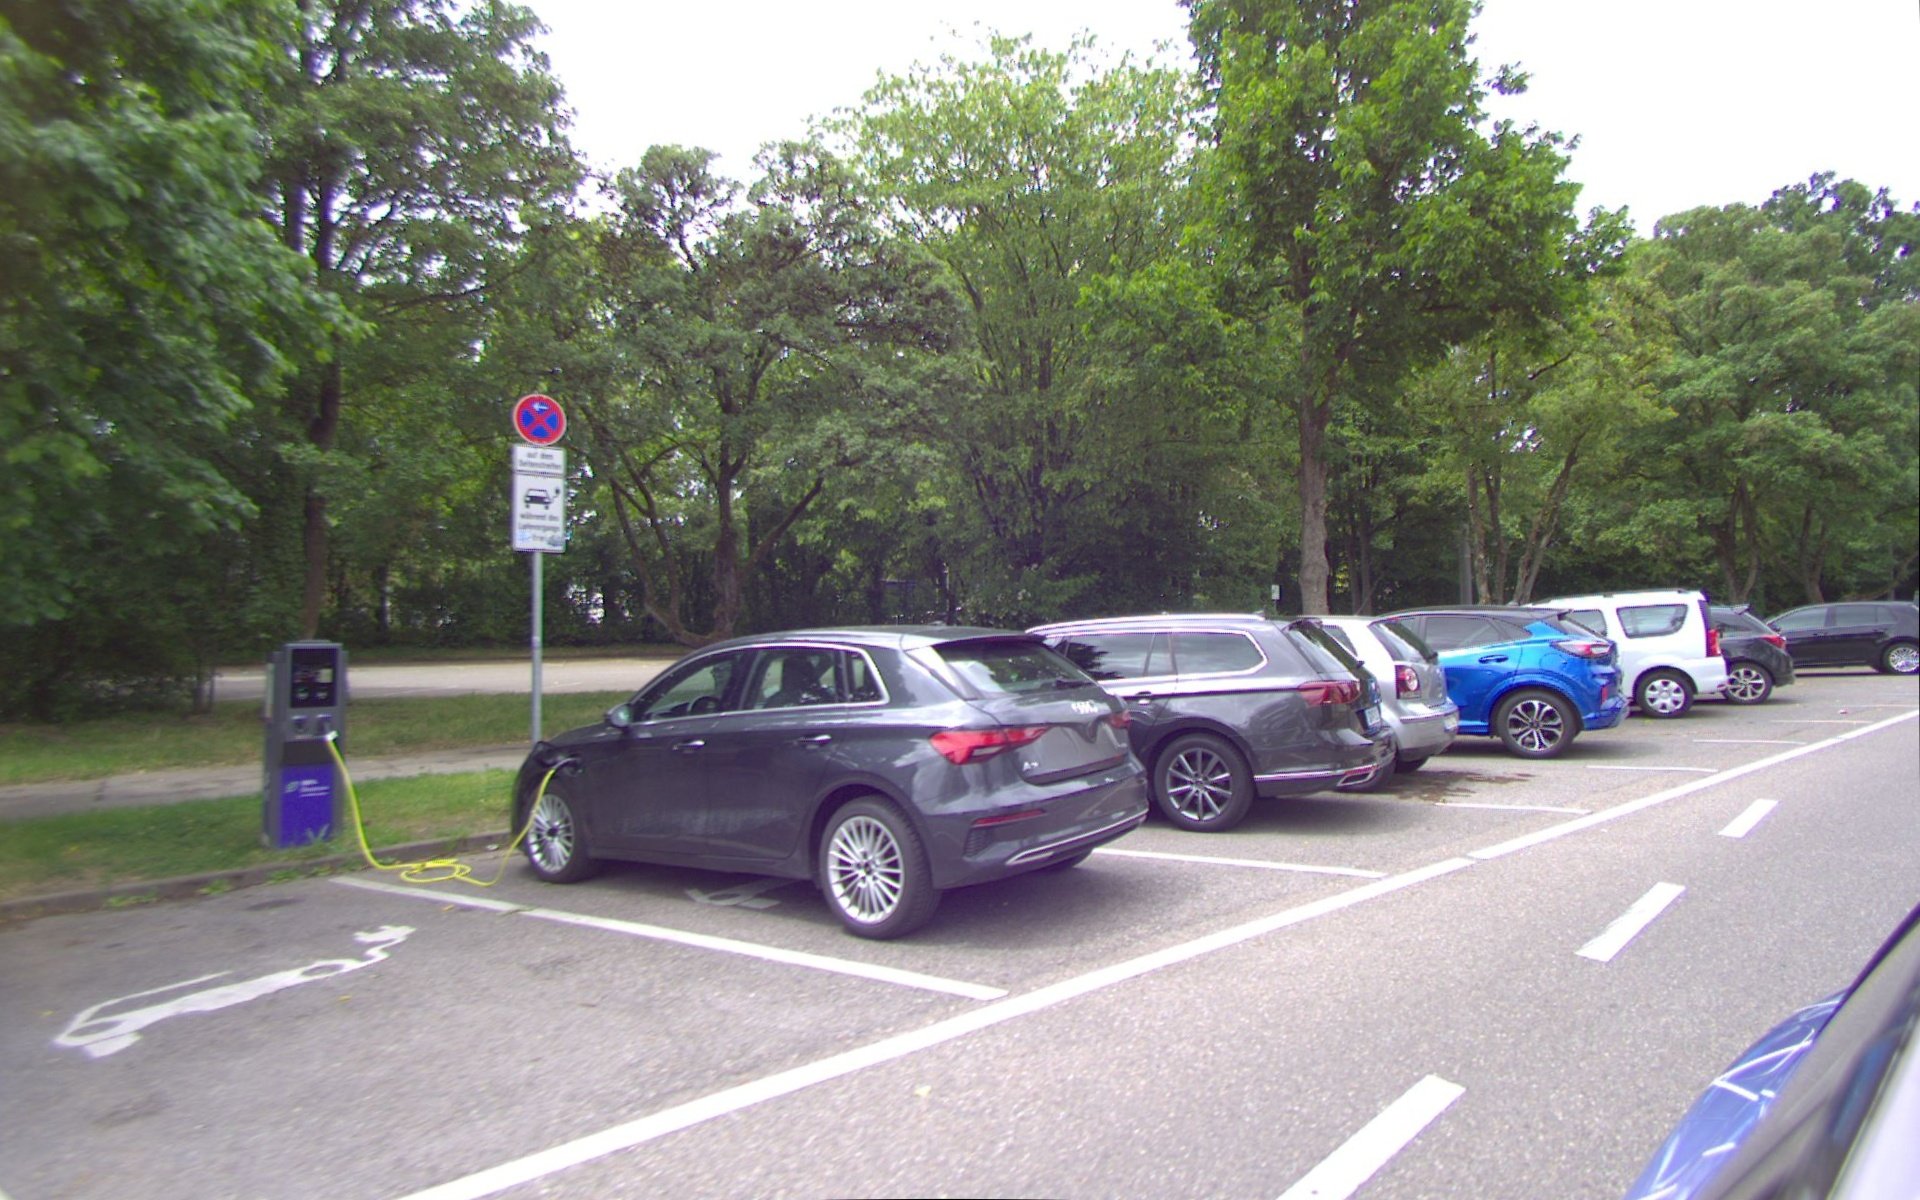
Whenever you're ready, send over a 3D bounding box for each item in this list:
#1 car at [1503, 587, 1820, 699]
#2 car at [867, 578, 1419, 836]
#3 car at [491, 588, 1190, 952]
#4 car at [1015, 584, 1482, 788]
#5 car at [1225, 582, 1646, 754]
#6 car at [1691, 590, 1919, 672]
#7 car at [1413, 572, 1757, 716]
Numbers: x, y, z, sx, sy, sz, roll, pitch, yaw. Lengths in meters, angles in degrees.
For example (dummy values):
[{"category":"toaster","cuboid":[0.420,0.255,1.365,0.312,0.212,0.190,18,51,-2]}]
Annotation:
[{"category":"car","cuboid":[10.851,0.720,15.844,3.810,1.487,1.721,-5,-4,39]},{"category":"car","cuboid":[1.313,0.770,7.897,3.805,1.548,1.724,-5,-3,35]},{"category":"car","cuboid":[-0.865,0.803,5.929,3.862,1.444,1.806,-5,-3,37]},{"category":"car","cuboid":[2.612,0.785,9.514,3.805,1.548,1.724,-5,-3,35]},{"category":"car","cuboid":[5.055,0.744,10.938,3.805,1.548,1.724,-5,-3,35]},{"category":"car","cuboid":[17.505,0.648,20.672,3.970,1.433,2.033,-5,-4,33]},{"category":"car","cuboid":[8.699,0.661,14.312,3.805,1.742,1.854,-5,-3,35]}]
